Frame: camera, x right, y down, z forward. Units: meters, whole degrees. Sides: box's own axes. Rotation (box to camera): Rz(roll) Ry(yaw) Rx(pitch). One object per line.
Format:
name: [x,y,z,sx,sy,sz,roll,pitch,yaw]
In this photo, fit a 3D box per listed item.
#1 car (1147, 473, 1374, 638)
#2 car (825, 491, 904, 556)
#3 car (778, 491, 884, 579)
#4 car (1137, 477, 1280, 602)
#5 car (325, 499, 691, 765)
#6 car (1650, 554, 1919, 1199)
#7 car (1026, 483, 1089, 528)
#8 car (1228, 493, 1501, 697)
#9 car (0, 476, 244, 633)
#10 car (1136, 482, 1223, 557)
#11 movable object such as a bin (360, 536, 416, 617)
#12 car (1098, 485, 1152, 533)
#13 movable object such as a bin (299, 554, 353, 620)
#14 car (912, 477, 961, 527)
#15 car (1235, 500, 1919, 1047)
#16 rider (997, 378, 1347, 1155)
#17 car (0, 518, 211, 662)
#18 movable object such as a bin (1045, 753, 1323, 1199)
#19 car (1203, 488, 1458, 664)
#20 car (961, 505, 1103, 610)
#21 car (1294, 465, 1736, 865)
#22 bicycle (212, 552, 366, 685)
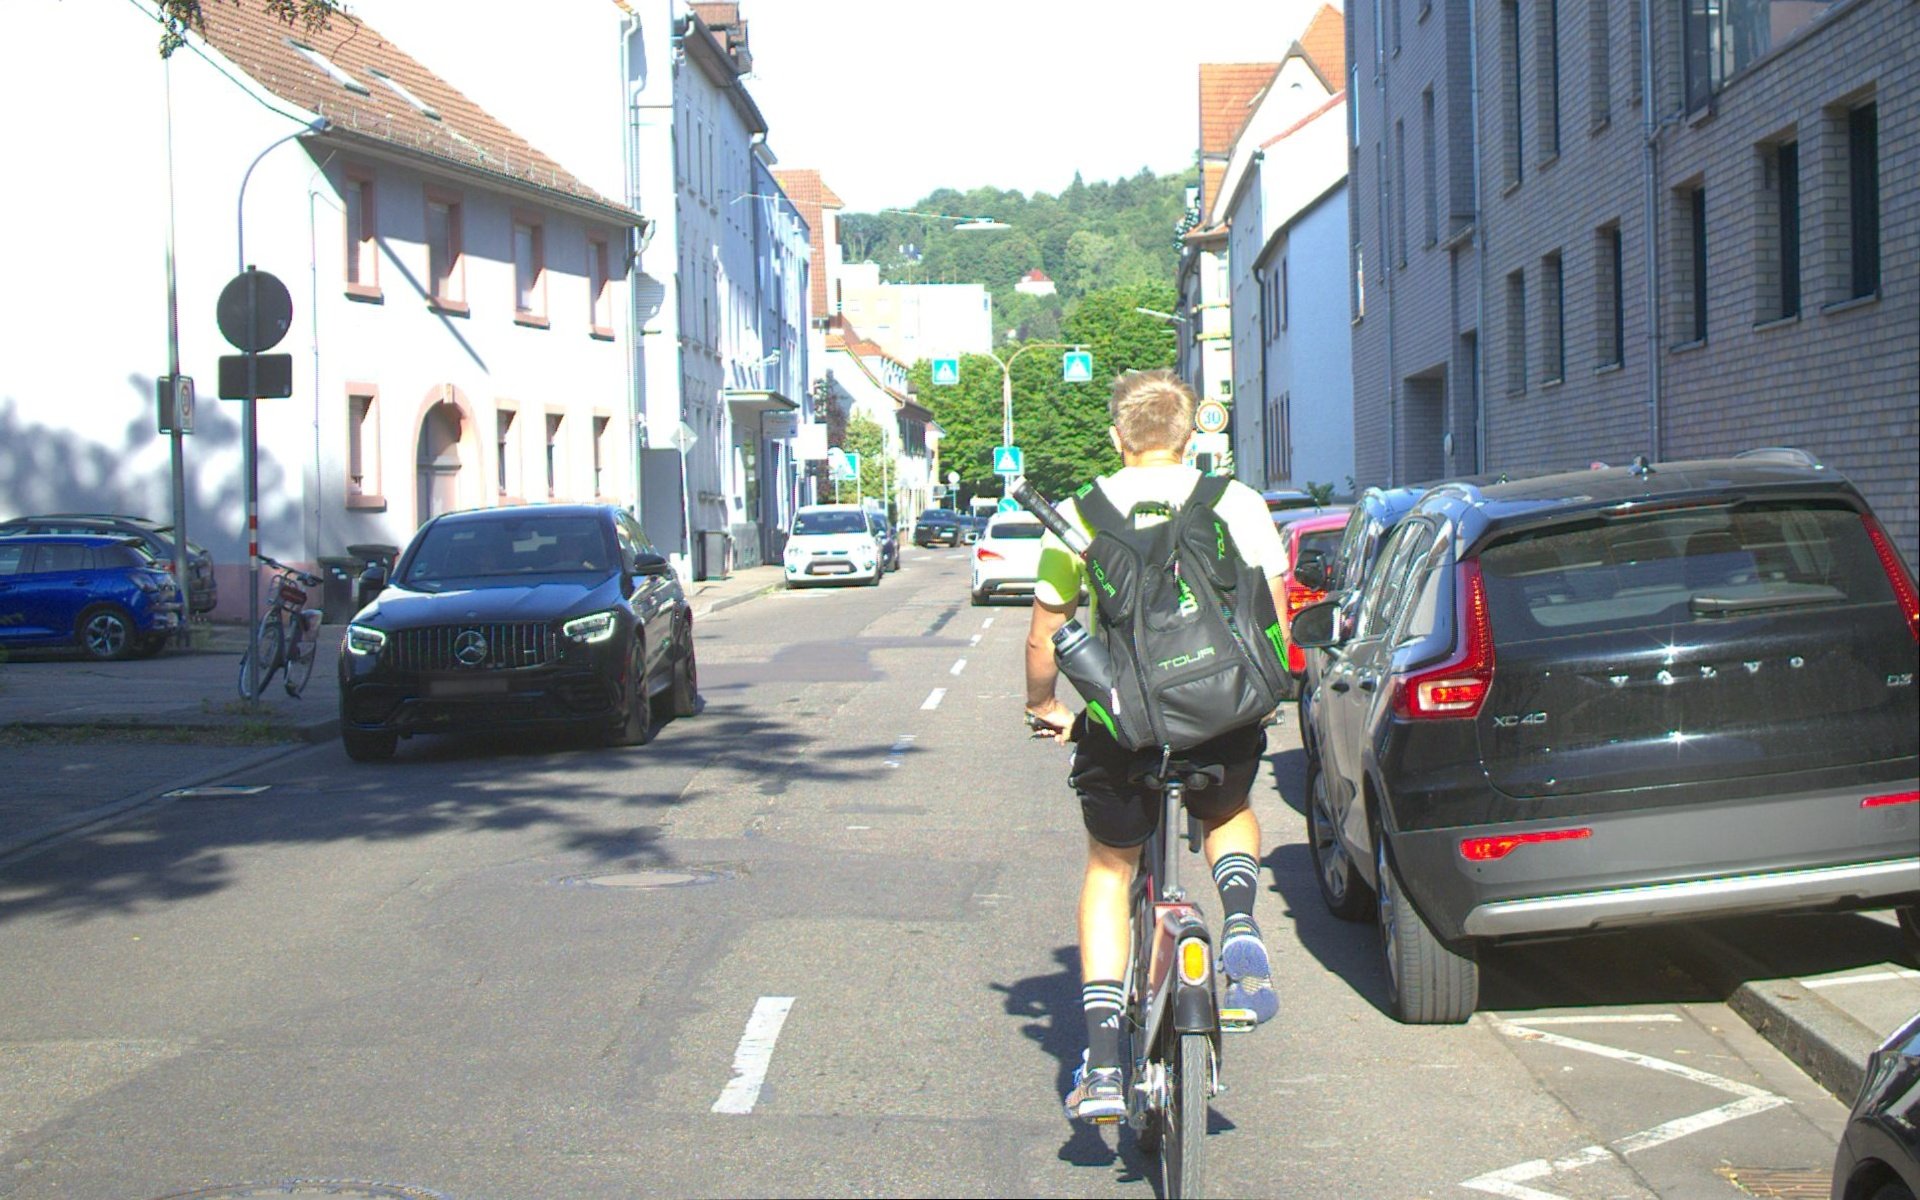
car: [3.279,-0.553,38.352,1.993,1.647,4.763,-2,2,-1]
car: [-2.350,-1.896,85.291,1.731,1.494,3.959,-2,1,1]
car: [-2.544,-1.334,68.754,1.993,1.642,5.222,-1,2,-1]
car: [3.655,-0.941,51.255,1.855,1.630,4.623,-4,2,2]
car: [-2.939,0.137,23.256,1.939,1.570,4.320,-2,2,-1]
car: [2.136,0.694,3.337,1.696,1.462,4.721,-3,2,-3]
car: [3.352,-3.226,117.173,1.994,1.461,4.000,-2,2,3]
car: [3.254,-0.097,28.327,1.712,1.399,4.073,-5,2,1]
car: [-11.603,-0.625,44.107,4.363,1.788,1.988,2,4,3]
car: [4.735,-1.772,74.608,1.741,1.486,4.439,-3,2,3]
movable object such as a bin: [-7.916,-0.332,47.603,0.598,1.090,0.751,-1,2,2]
car: [6.669,-3.690,139.324,2.011,1.846,4.000,-1,2,1]
movable object such as a bin: [-8.582,-0.175,46.563,0.598,0.869,0.606,-1,2,0]
car: [-0.982,-4.155,145.168,1.993,2.006,4.000,-1,2,0]
car: [2.057,0.423,11.706,1.816,1.461,4.270,-2,2,0]
rider: [0.434,0.332,7.480,0.653,1.556,1.083,1,0,0]
car: [-10.963,-0.092,40.394,3.768,1.524,2.000,-3,2,2]
movable object such as a bin: [0.455,0.904,7.554,0.454,1.029,1.840,1,0,0]
car: [3.501,-0.290,33.241,1.993,1.500,4.367,-2,2,1]
car: [1.052,-0.674,52.254,1.993,1.461,4.000,-2,2,0]
car: [2.698,0.204,17.678,1.890,1.706,4.773,-1,2,5]
bicycle: [-5.380,0.131,27.674,0.704,0.999,1.941,-1,2,5]
